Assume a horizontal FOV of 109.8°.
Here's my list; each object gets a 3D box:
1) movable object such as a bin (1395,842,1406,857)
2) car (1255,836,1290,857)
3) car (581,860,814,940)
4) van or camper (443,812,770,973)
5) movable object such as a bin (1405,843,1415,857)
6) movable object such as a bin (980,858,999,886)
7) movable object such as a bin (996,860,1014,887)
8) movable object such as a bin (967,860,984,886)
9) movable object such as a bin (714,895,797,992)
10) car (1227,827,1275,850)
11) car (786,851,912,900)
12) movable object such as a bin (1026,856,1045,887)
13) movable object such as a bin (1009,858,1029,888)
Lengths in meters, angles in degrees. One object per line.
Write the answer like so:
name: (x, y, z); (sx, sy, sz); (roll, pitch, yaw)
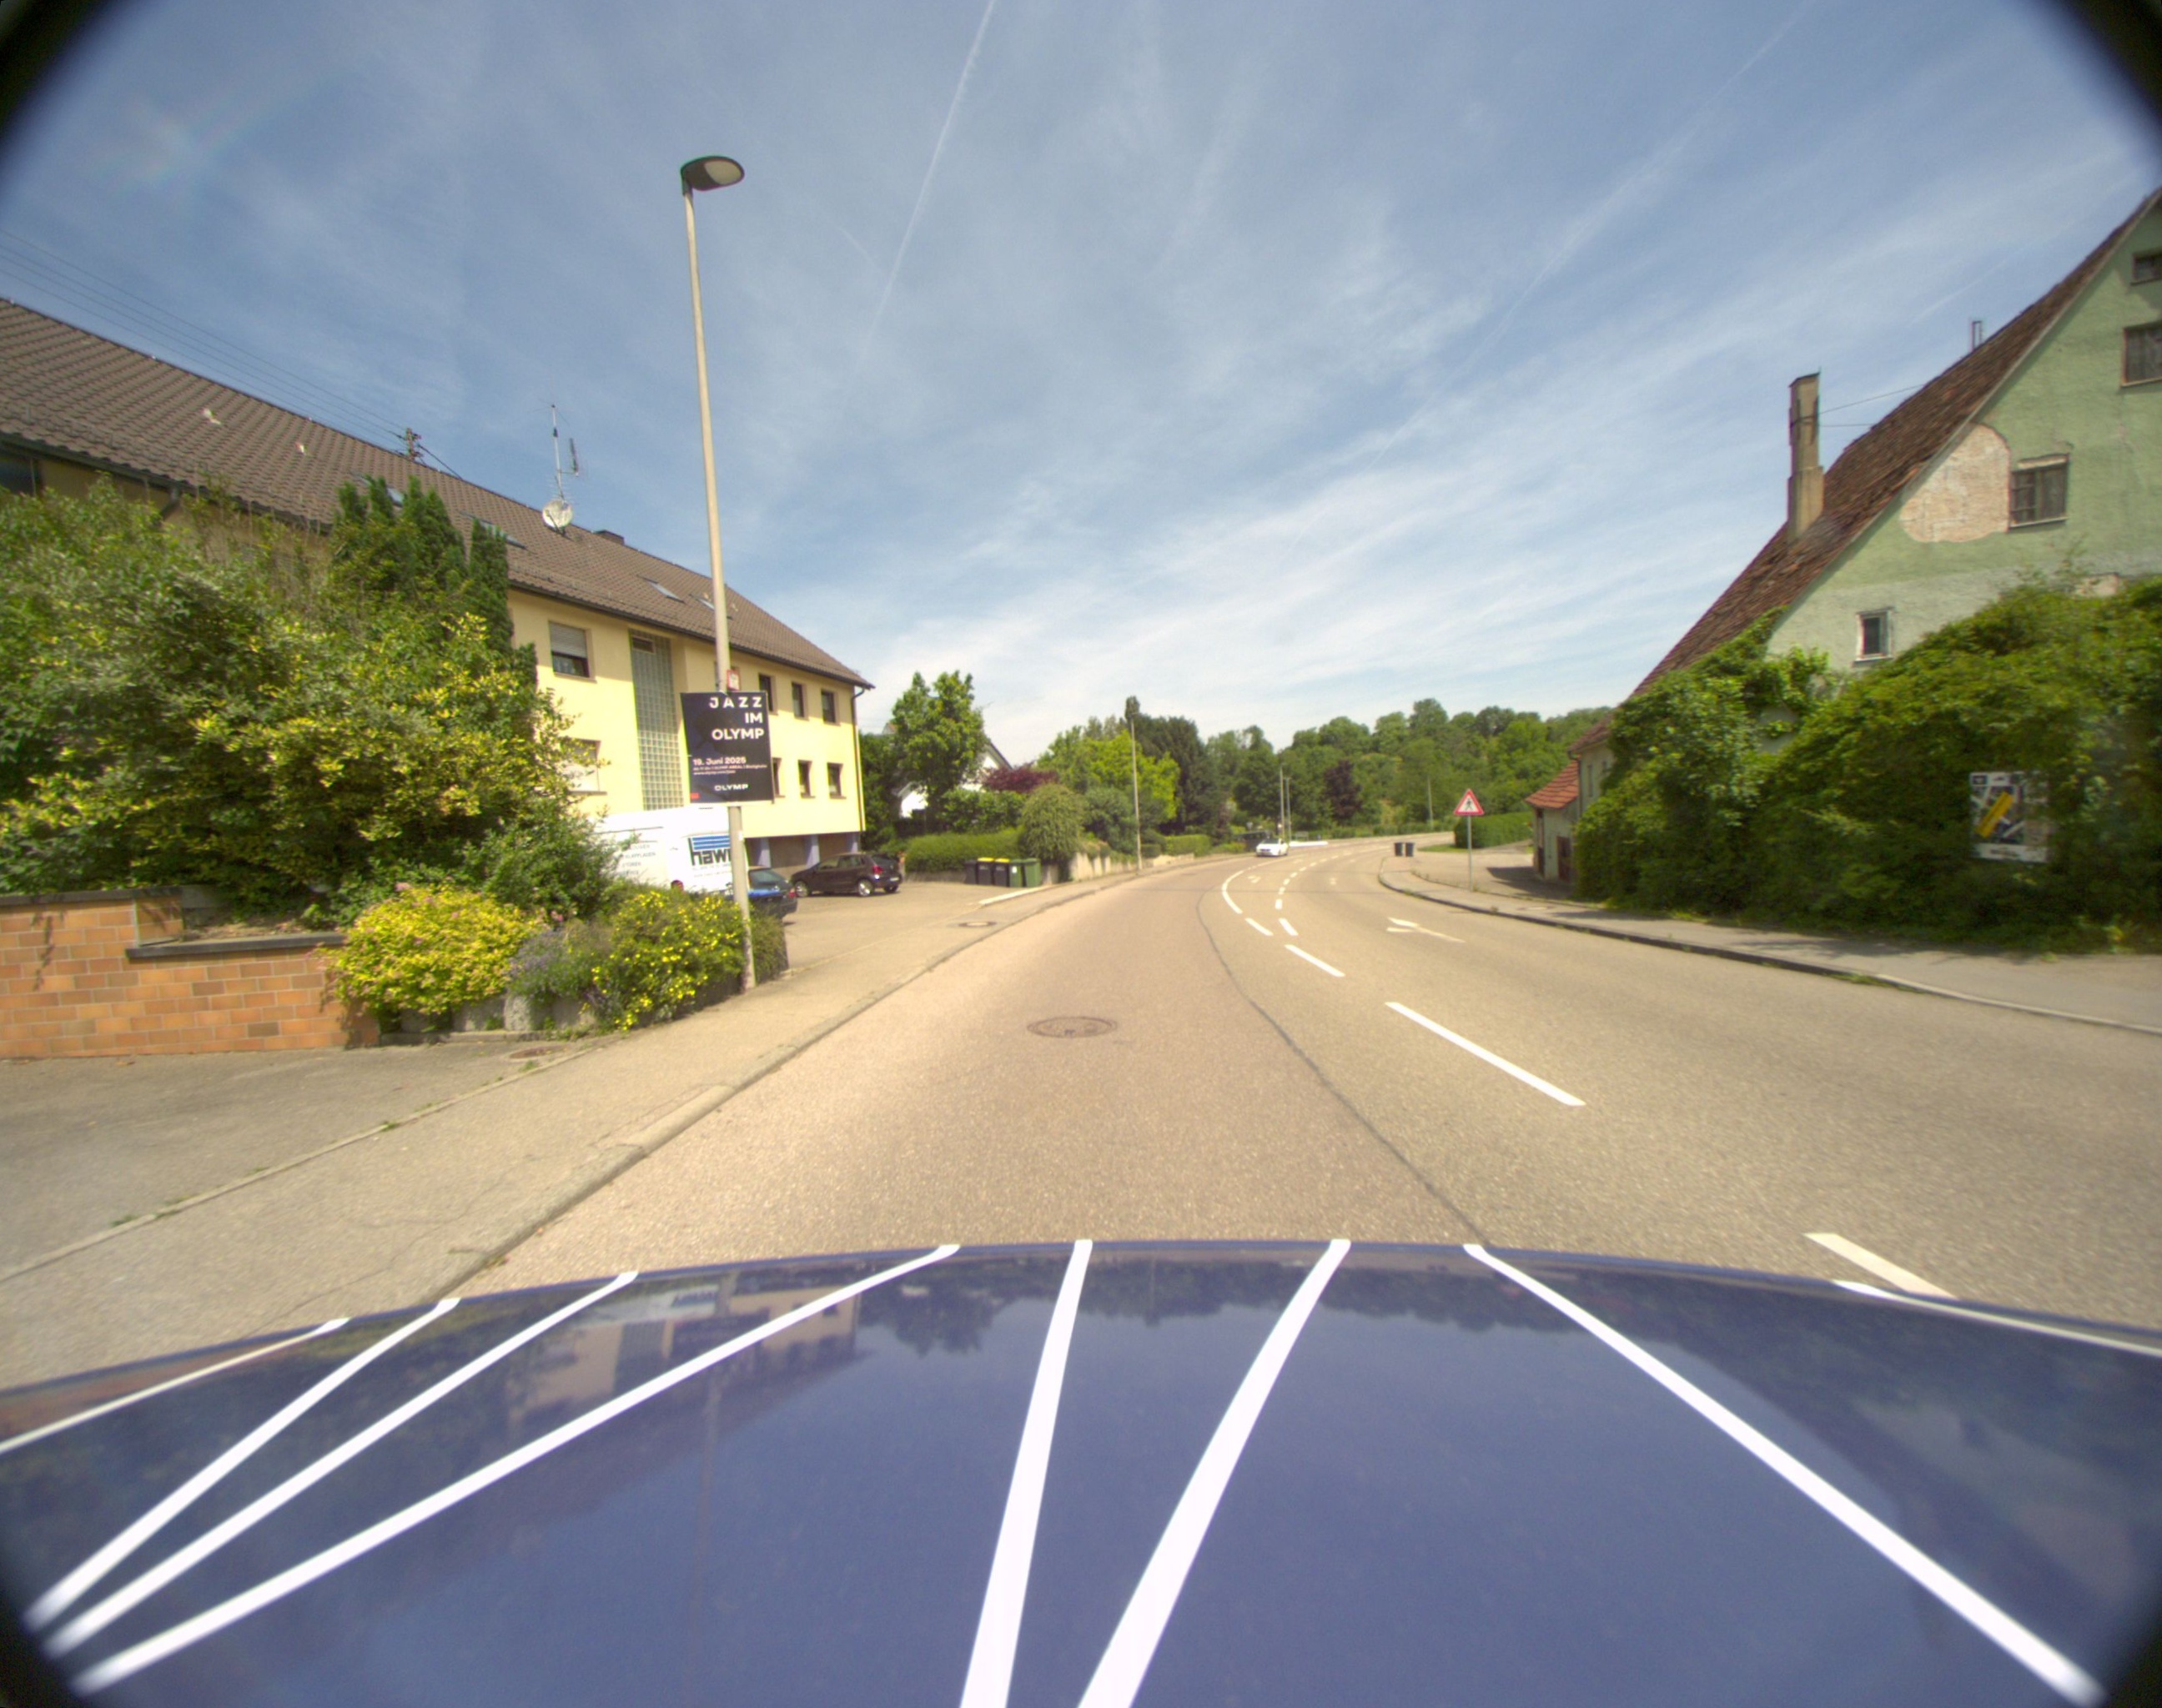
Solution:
movable object such as a bin: (24.035, -0.327, 57.181); (0.553, 1.075, 0.541); (-3, 1, 5)
car: (15.417, -0.601, 61.154); (1.823, 1.543, 4.006); (0, 2, 28)
car: (-9.008, 1.065, 17.957); (4.706, 1.555, 1.910); (-2, 3, 15)
van or camper: (-9.294, 0.723, 15.040); (5.234, 2.632, 2.286); (-4, 3, 15)
movable object such as a bin: (24.068, -0.306, 55.563); (0.534, 1.044, 0.541); (-3, 1, 5)
movable object such as a bin: (-3.488, 0.679, 28.951); (0.485, 1.016, 0.565); (1, 2, 20)
movable object such as a bin: (-2.874, 0.731, 28.757); (0.485, 1.016, 0.565); (1, 2, 20)
movable object such as a bin: (-4.037, 0.723, 29.080); (0.449, 0.950, 0.516); (2, 2, 17)
movable object such as a bin: (-4.035, 1.094, 9.450); (0.551, 1.062, 0.659); (-8, 0, 8)
car: (16.141, -1.450, 72.129); (3.900, 1.938, 1.959); (-2, 1, 32)
car: (-7.827, 0.727, 25.682); (3.686, 1.410, 1.646); (-2, 2, 17)
movable object such as a bin: (-1.694, 0.656, 28.365); (0.485, 1.101, 0.565); (-2, 1, 16)
movable object such as a bin: (-2.329, 0.717, 28.533); (0.485, 1.064, 0.565); (-2, 1, 20)
